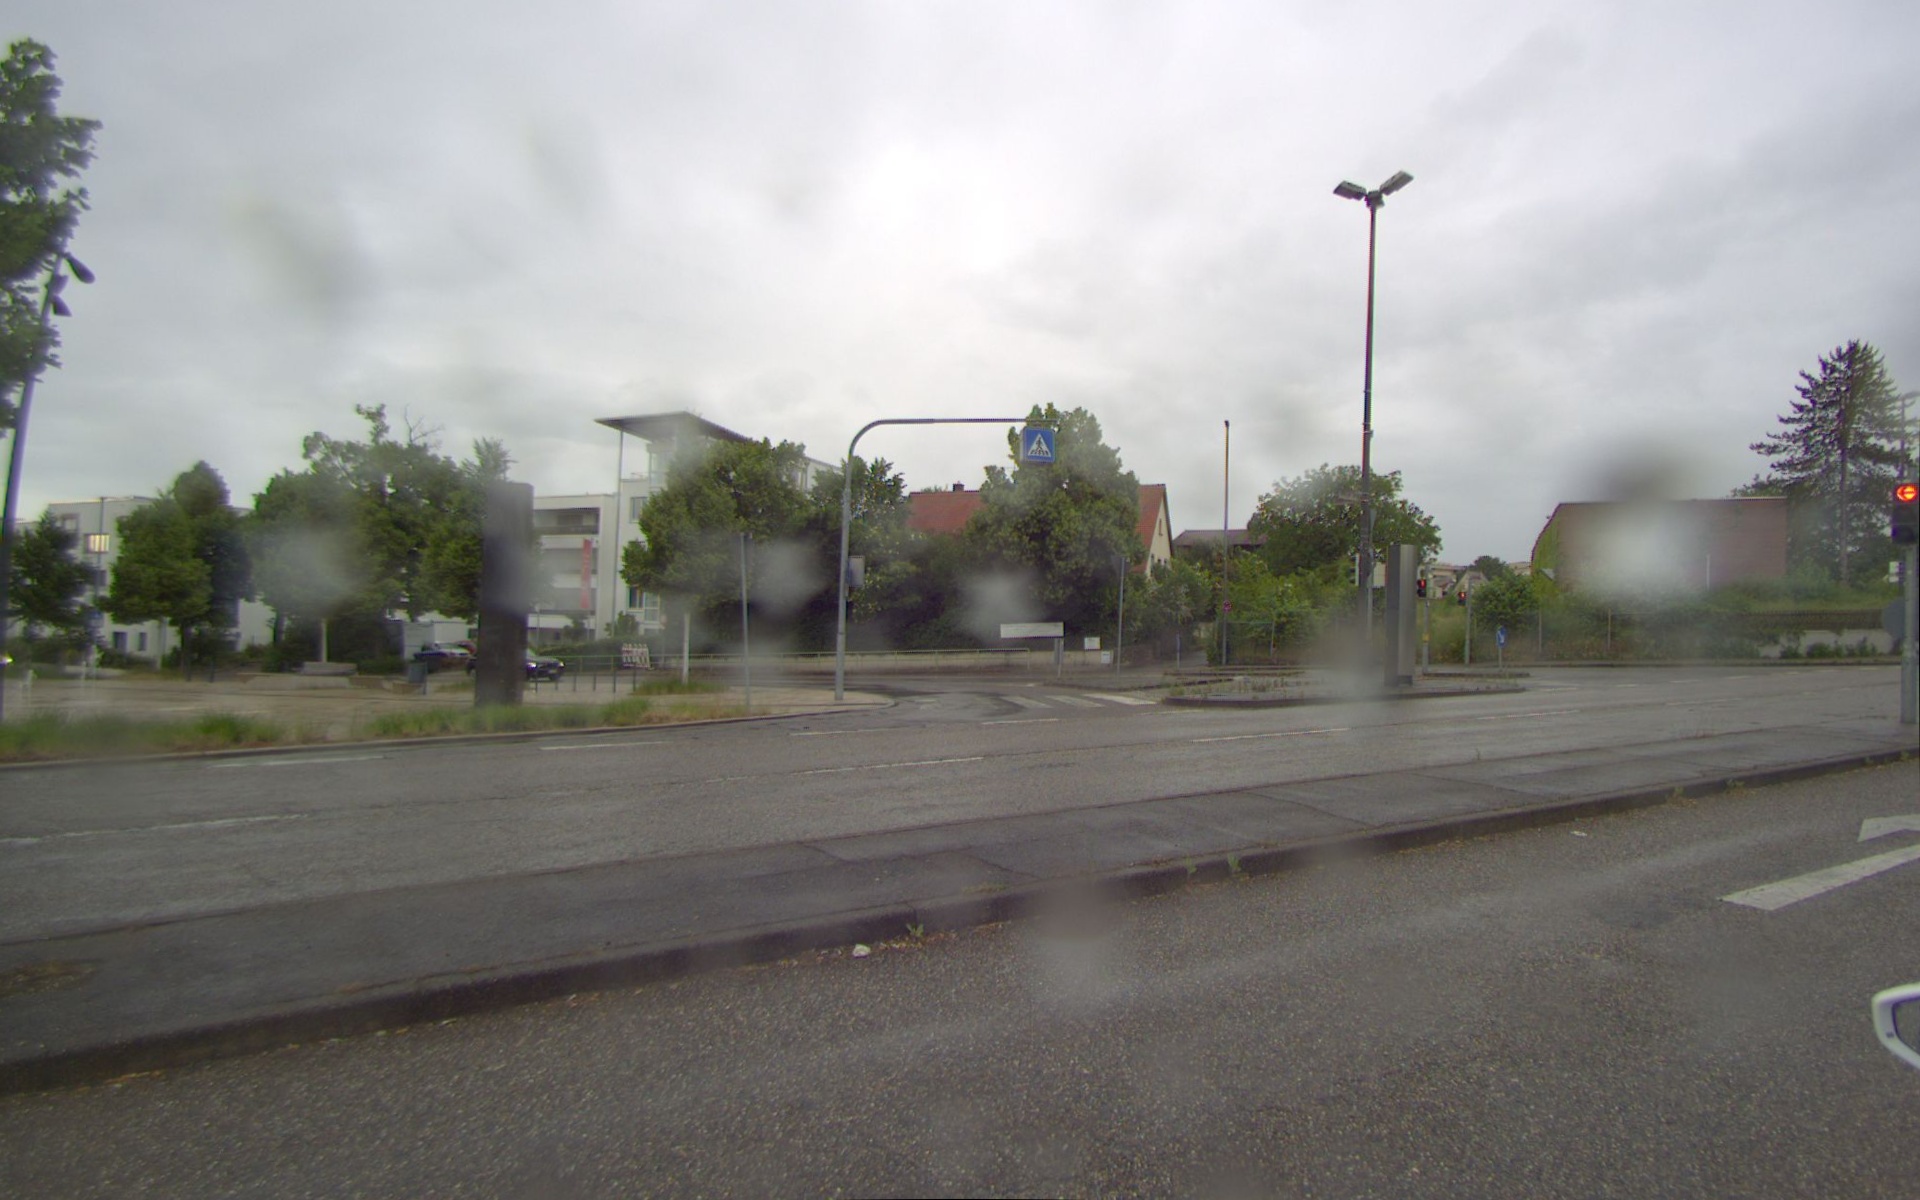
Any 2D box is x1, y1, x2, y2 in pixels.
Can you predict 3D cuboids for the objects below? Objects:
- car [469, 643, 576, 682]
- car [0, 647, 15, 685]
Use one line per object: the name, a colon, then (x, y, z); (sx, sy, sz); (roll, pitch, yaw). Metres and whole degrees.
car: (-17.579, 2.482, 40.295); (4.205, 1.408, 1.787); (-1, -2, 30)
car: (-63.861, 4.296, 65.269); (5.814, 2.441, 1.996); (-2, -3, 31)
